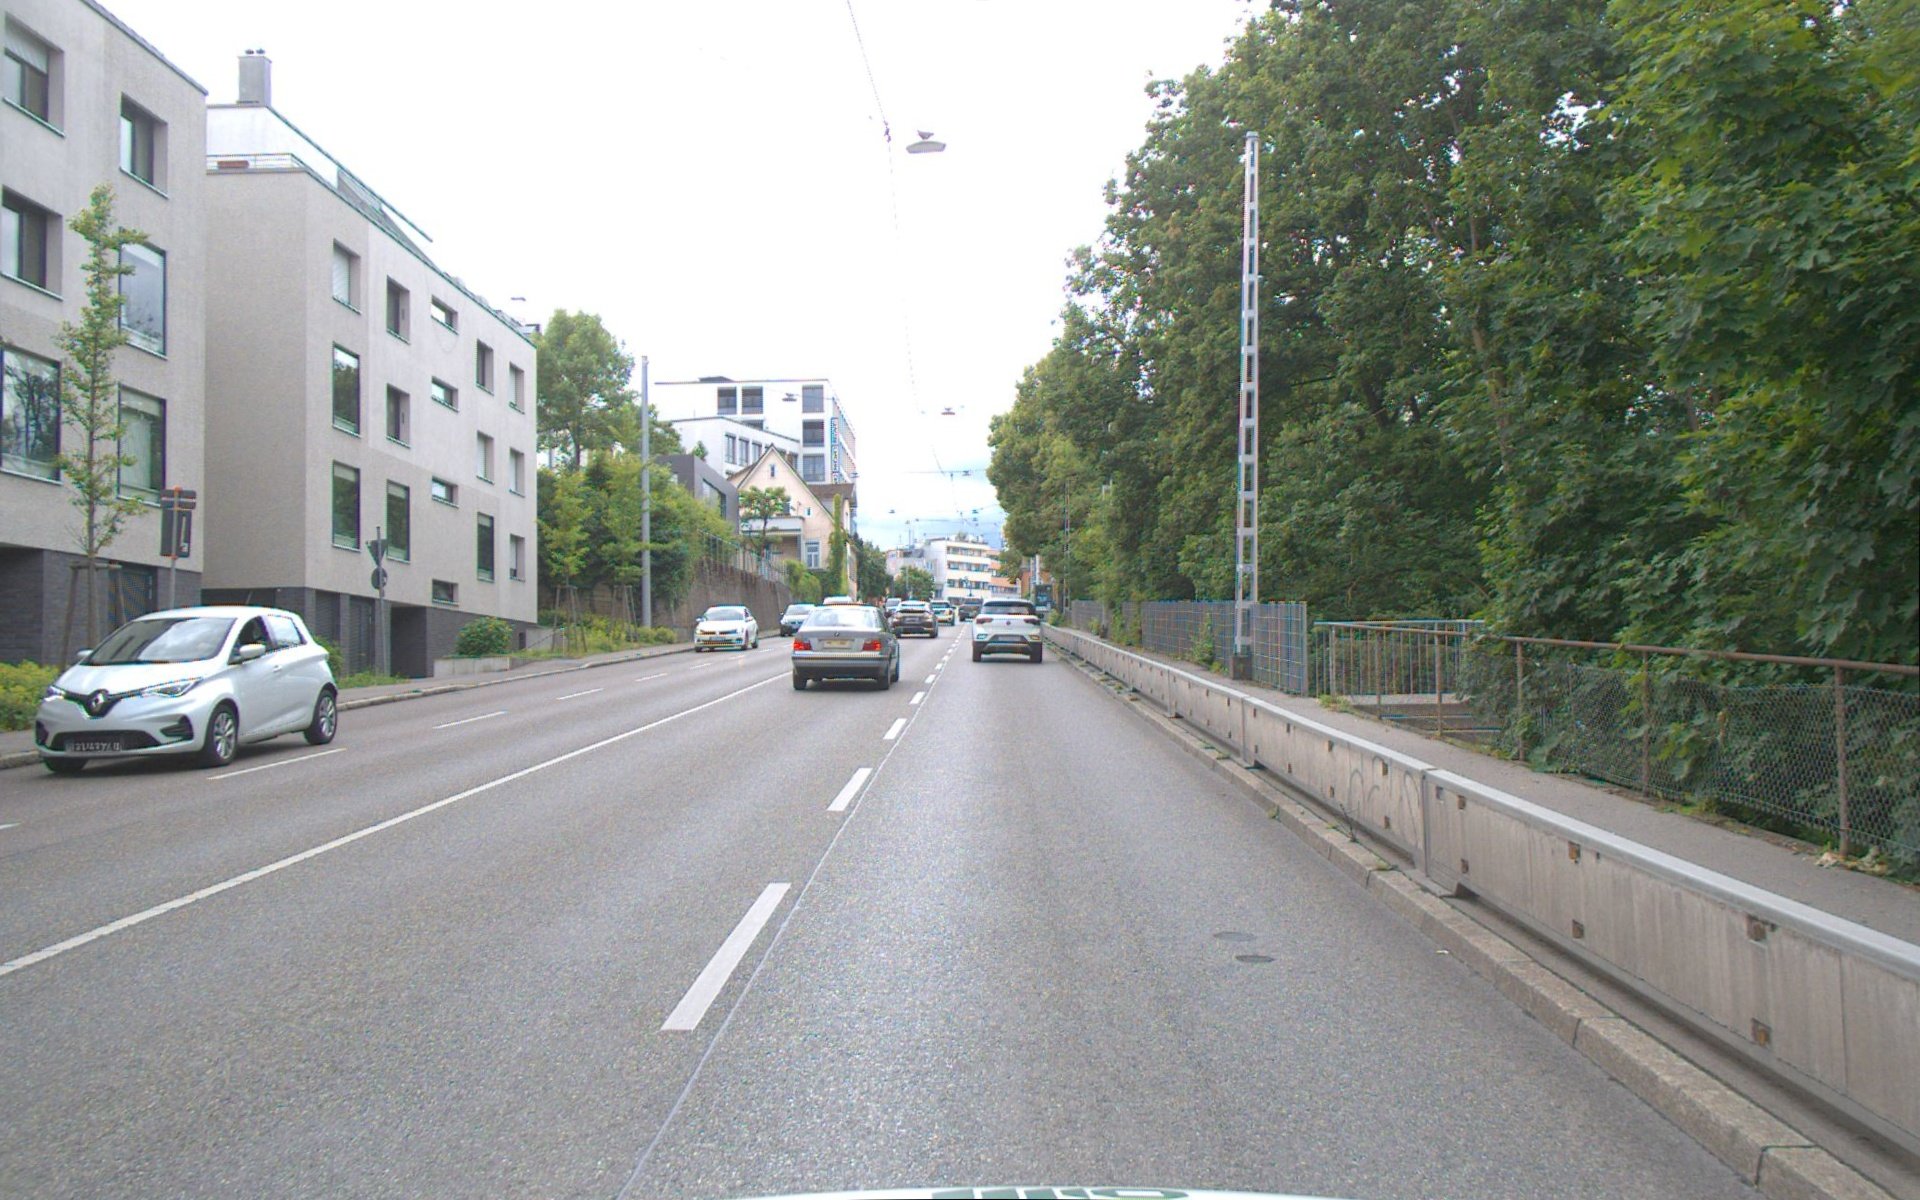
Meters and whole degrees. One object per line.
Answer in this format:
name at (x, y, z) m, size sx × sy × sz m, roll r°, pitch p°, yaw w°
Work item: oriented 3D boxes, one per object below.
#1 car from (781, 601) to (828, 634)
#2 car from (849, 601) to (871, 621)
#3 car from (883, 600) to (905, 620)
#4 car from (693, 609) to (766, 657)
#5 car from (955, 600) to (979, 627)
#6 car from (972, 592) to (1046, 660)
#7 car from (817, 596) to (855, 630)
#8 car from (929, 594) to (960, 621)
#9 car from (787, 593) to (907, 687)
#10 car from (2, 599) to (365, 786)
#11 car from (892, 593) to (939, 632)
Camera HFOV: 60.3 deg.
car at (-7.369, 0.808, 78.669) m, size 1.697 × 1.489 × 4.424 m, roll -2°, pitch 0°, yaw 1°
car at (-9.102, 0.979, 150.397) m, size 1.954 × 1.731 × 3.998 m, roll 1°, pitch 0°, yaw -3°
car at (-6.087, 0.945, 153.997) m, size 1.779 × 1.815 × 4.495 m, roll 0°, pitch 0°, yaw 1°
car at (-7.634, 1.068, 55.176) m, size 1.737 × 1.489 × 4.192 m, roll -2°, pitch 0°, yaw 1°
car at (0.487, 0.944, 113.137) m, size 1.622 × 1.796 × 3.287 m, roll 0°, pitch 0°, yaw 1°
car at (1.192, 0.636, 41.732) m, size 1.743 × 1.607 × 4.000 m, roll 0°, pitch 0°, yaw 0°
car at (-7.108, 0.741, 95.386) m, size 1.697 × 1.819 × 4.867 m, roll -2°, pitch 0°, yaw 1°
car at (-0.854, 0.416, 95.407) m, size 1.671 × 1.489 × 4.000 m, roll -1°, pitch 0°, yaw 1°
car at (-1.874, 0.673, 28.516) m, size 1.671 × 1.490 × 4.000 m, roll 0°, pitch -1°, yaw 2°
car at (-7.927, 0.858, 17.345) m, size 1.708 × 1.642 × 4.057 m, roll -3°, pitch 0°, yaw 2°
car at (-1.757, 0.487, 66.298) m, size 1.671 × 1.489 × 4.000 m, roll -1°, pitch 0°, yaw 1°
